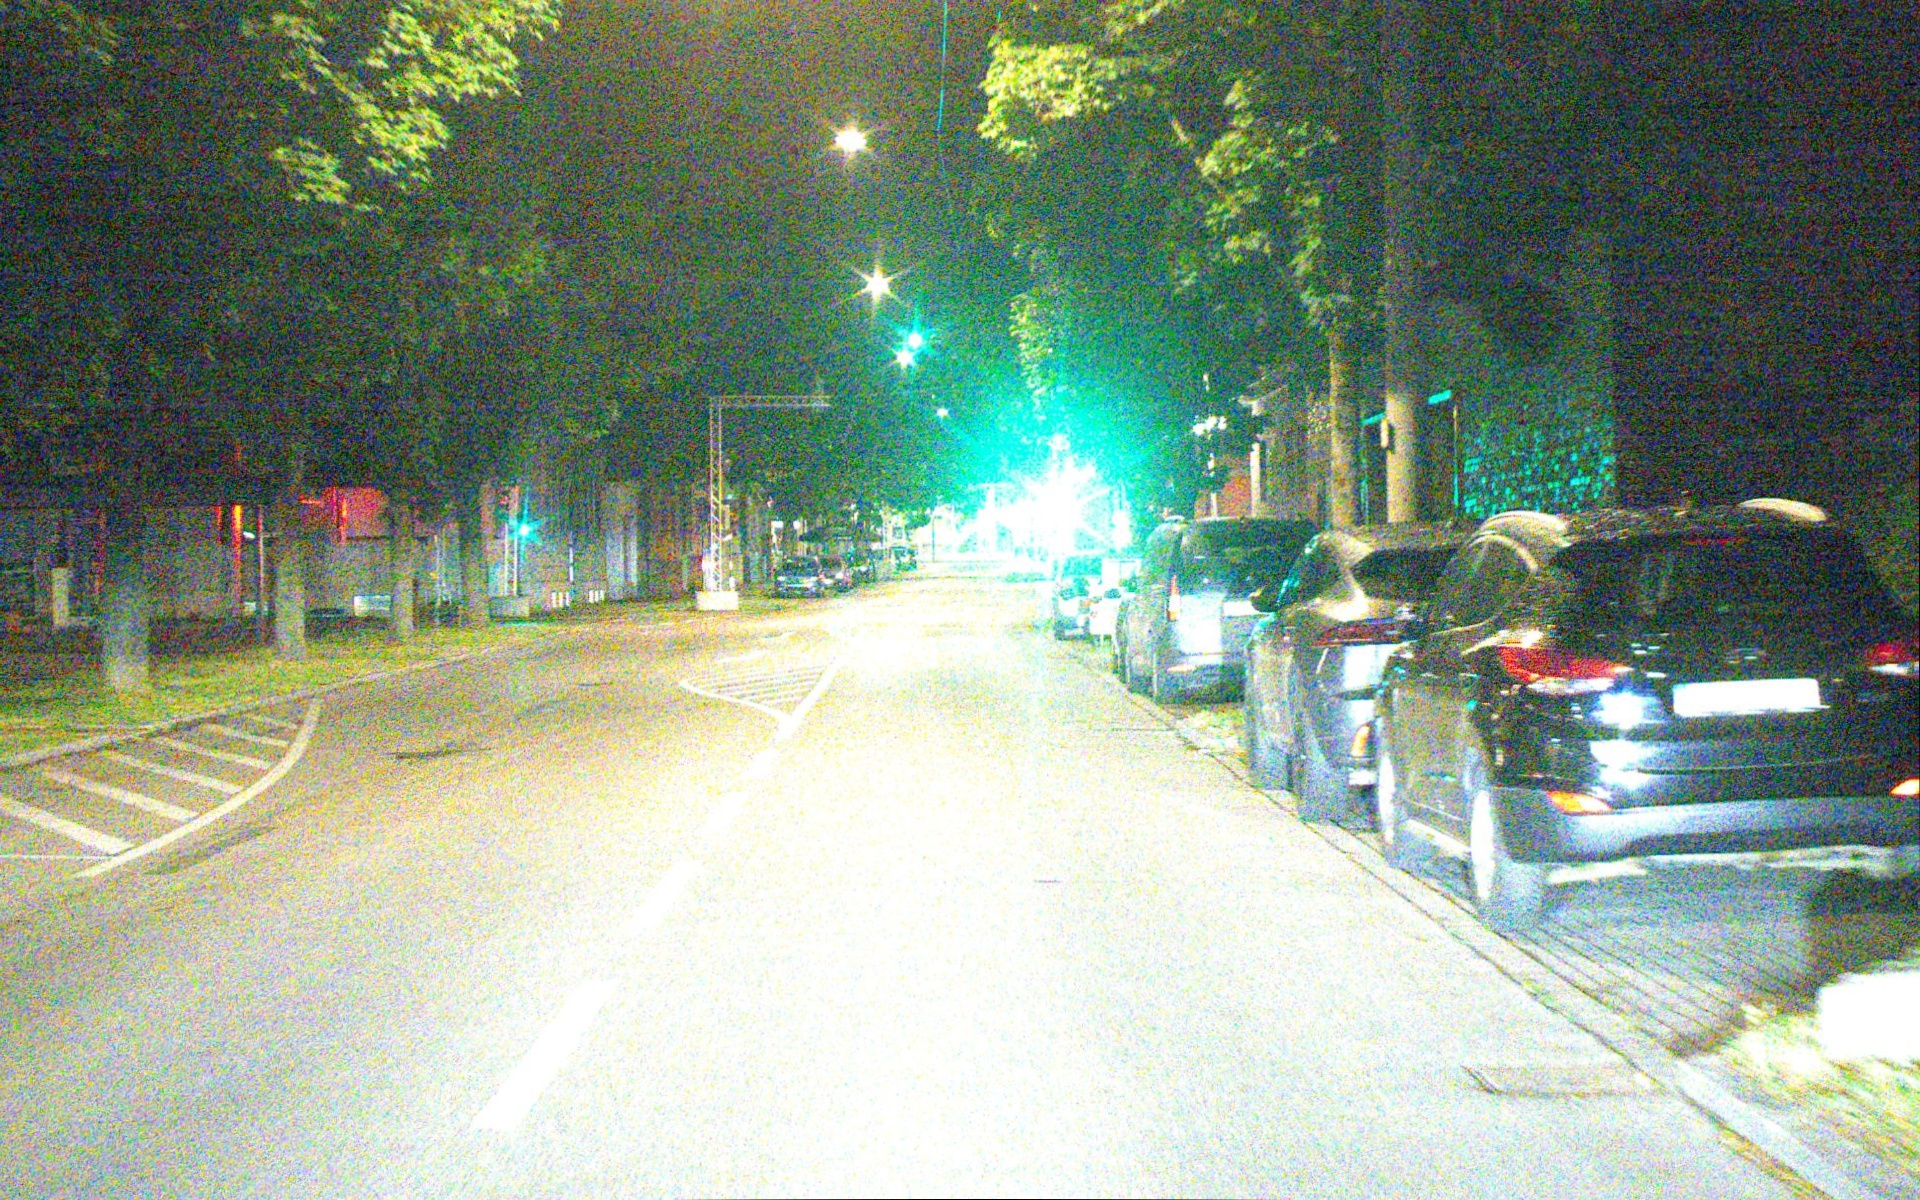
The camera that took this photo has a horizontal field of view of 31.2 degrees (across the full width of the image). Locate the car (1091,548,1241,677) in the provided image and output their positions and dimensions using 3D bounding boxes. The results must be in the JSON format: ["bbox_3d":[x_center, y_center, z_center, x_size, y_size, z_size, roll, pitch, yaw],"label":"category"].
[{"bbox_3d":[2.392,0.111,40.695,1.520,1.391,3.984,-2,1,1],"label":"car"}]

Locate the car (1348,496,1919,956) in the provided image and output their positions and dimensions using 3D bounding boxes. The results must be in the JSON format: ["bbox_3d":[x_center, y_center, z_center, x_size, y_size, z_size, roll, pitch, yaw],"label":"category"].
[{"bbox_3d":[2.913,0.429,14.943,1.853,1.648,4.209,-2,1,-1],"label":"car"}]

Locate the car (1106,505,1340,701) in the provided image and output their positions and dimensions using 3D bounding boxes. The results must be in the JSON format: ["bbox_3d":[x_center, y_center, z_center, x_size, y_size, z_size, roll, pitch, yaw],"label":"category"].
[{"bbox_3d":[2.604,-0.005,34.965,1.771,1.800,4.278,-3,1,-3],"label":"car"}]

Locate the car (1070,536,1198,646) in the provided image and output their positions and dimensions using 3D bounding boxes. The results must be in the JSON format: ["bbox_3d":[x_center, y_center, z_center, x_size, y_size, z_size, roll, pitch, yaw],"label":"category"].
[{"bbox_3d":[2.581,-0.163,51.856,1.591,1.529,4.138,-2,1,-1],"label":"car"}]

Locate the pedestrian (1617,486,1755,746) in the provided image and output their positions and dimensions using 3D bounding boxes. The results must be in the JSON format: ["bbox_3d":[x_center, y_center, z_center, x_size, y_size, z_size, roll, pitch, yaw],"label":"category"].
[{"bbox_3d":[4.951,0.102,23.489,0.705,1.716,0.821,-2,1,0],"label":"pedestrian"}]

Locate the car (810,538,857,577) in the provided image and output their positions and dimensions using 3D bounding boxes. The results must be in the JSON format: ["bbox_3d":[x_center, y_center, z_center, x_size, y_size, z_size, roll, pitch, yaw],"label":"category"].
[{"bbox_3d":[-5.062,-1.709,137.916,1.740,1.411,3.753,0,3,0],"label":"car"}]

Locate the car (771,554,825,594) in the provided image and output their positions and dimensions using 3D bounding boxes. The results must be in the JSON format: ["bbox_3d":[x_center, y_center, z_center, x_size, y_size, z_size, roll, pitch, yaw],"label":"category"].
[{"bbox_3d":[-5.759,-0.936,122.687,1.740,1.411,3.752,0,1,0],"label":"car"}]

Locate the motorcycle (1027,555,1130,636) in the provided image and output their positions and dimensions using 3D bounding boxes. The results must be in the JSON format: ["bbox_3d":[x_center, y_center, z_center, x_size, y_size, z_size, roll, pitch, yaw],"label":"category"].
[{"bbox_3d":[1.909,-0.078,55.245,0.637,1.265,2.060,0,1,35],"label":"motorcycle"}]

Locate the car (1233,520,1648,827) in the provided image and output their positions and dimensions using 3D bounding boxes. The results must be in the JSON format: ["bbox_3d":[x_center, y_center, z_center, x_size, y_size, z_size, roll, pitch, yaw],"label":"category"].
[{"bbox_3d":[2.734,0.369,20.479,1.853,1.599,4.209,1,1,0],"label":"car"}]

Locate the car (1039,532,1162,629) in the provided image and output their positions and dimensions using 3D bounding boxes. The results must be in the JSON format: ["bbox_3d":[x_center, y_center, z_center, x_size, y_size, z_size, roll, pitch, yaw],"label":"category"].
[{"bbox_3d":[2.389,-0.362,59.276,1.853,1.585,4.301,-1,1,-1],"label":"car"}]
